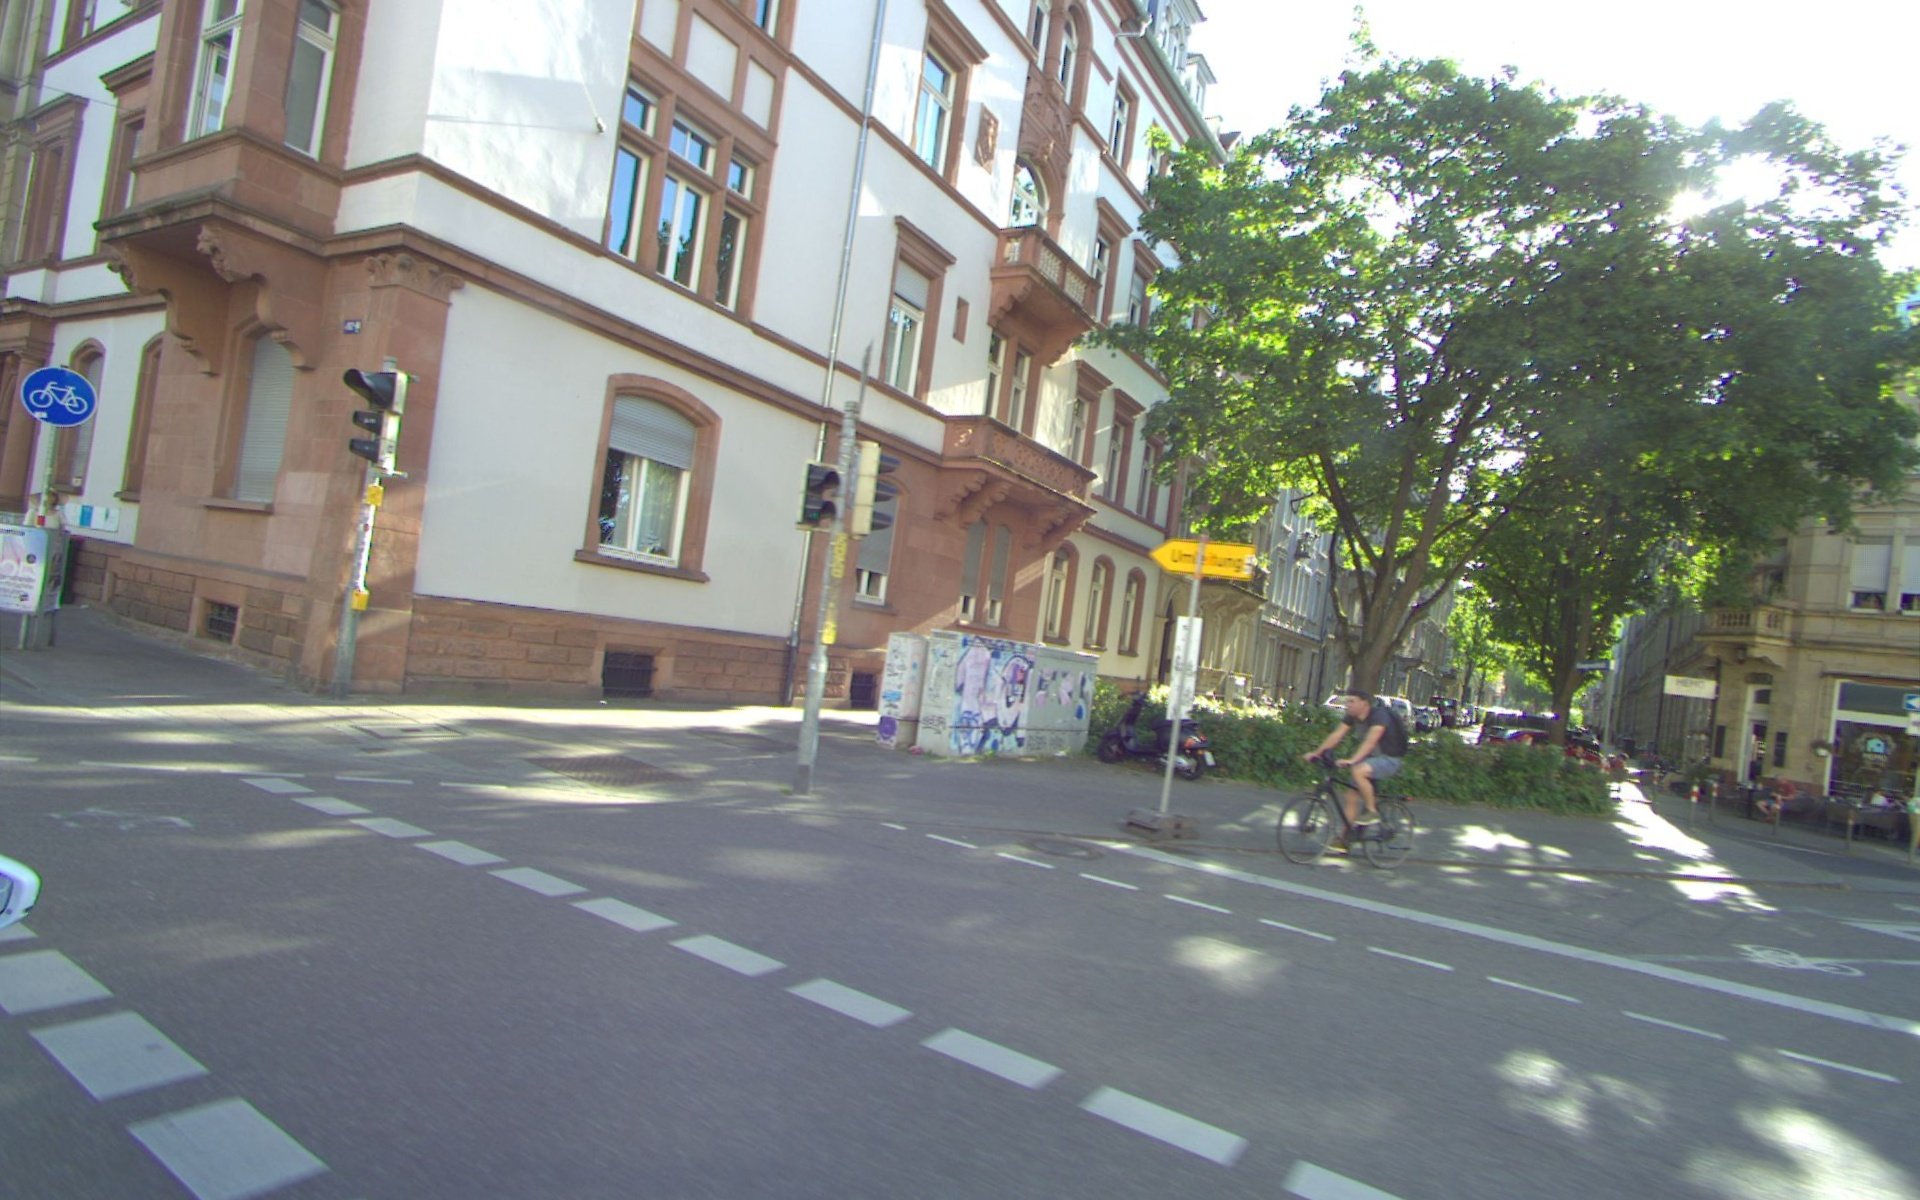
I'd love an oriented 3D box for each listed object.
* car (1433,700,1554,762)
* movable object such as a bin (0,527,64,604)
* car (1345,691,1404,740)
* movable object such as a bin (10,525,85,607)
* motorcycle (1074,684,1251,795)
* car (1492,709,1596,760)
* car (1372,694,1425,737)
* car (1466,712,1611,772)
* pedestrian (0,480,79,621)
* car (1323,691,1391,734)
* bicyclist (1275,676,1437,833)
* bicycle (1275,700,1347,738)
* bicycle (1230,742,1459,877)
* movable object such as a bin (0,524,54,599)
[{"bbox_3d":[21.996,5.390,41.599,3.924,1.885,1.638,7,0,5],"label":"car"},{"bbox_3d":[-14.598,-0.533,15.727,0.561,1.090,0.667,7,0,31],"label":"movable object such as a bin"},{"bbox_3d":[19.072,5.314,46.235,1.611,1.884,3.994,10,0,33],"label":"car"},{"bbox_3d":[-14.068,-0.519,15.512,0.584,1.169,0.666,8,3,31],"label":"movable object such as a bin"},{"bbox_3d":[2.949,2.014,14.799,2.350,1.138,0.612,9,-1,31],"label":"motorcycle"},{"bbox_3d":[29.658,6.802,51.145,3.925,1.884,2.005,8,-2,3],"label":"car"},{"bbox_3d":[23.383,6.158,53.569,1.714,1.884,3.993,10,0,34],"label":"car"},{"bbox_3d":[20.852,5.098,36.365,4.100,1.448,1.640,8,-2,5],"label":"car"},{"bbox_3d":[-12.744,-0.673,13.770,0.661,1.803,0.706,7,-1,30],"label":"pedestrian"},{"bbox_3d":[16.232,4.606,41.041,1.538,1.444,3.799,6,-3,36],"label":"car"},{"bbox_3d":[3.980,1.545,10.131,1.121,1.358,0.833,8,-1,-24],"label":"bicyclist"},{"bbox_3d":[12.647,4.283,36.260,2.127,0.898,1.014,12,1,38],"label":"bicycle"},{"bbox_3d":[3.868,2.108,10.106,2.071,1.056,0.843,9,-2,-24],"label":"bicycle"},{"bbox_3d":[-15.114,-0.624,16.108,0.561,1.089,0.667,8,-1,31],"label":"movable object such as a bin"}]
